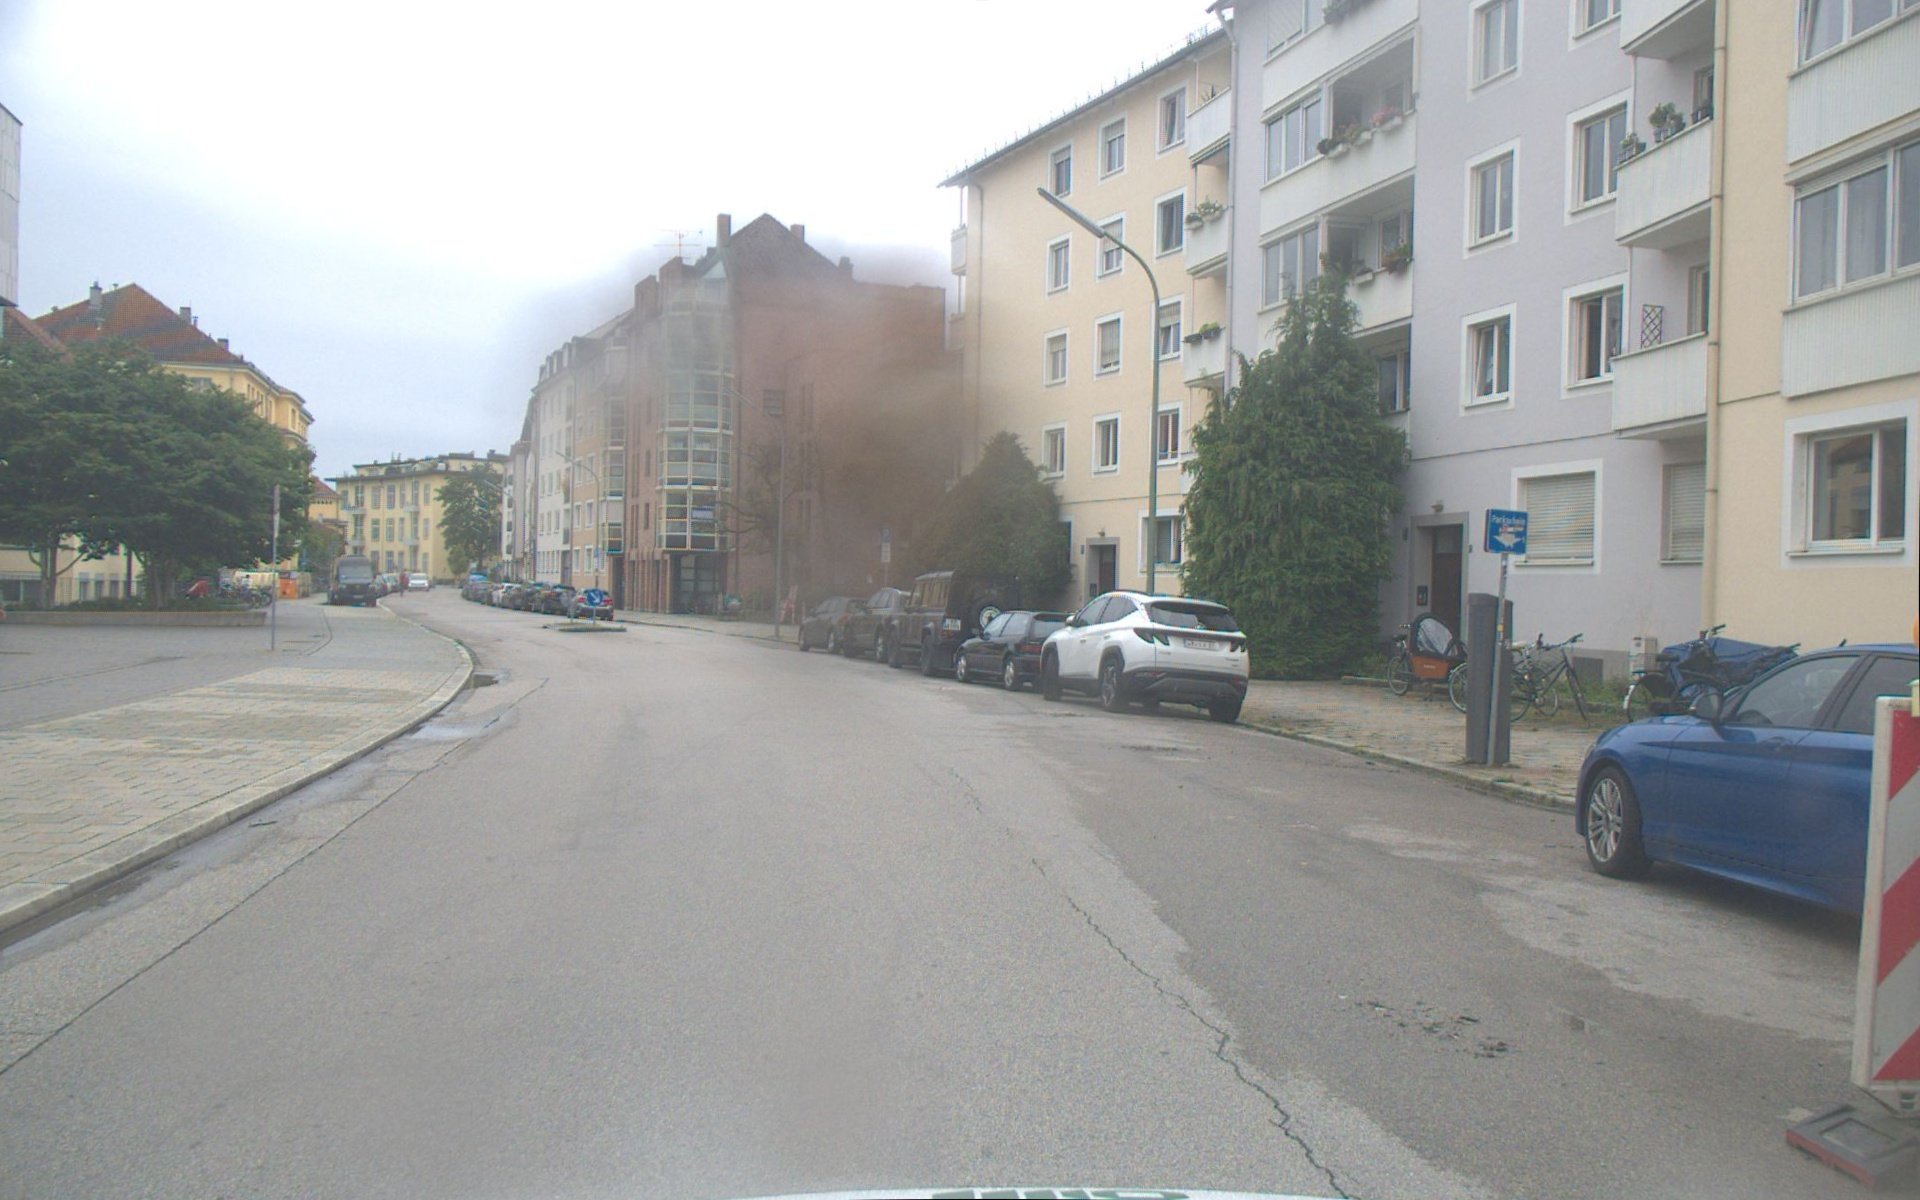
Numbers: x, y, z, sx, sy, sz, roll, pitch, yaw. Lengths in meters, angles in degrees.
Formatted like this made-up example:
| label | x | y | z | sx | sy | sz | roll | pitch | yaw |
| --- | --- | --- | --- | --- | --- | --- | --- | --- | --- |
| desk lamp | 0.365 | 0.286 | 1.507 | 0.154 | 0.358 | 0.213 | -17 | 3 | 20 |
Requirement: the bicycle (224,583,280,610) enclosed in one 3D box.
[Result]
| label | x | y | z | sx | sy | sz | roll | pitch | yaw |
| --- | --- | --- | --- | --- | --- | --- | --- | --- | --- |
| bicycle | -33.252 | -0.168 | 77.699 | 2.270 | 1.154 | 0.580 | 3 | 0 | -13 |

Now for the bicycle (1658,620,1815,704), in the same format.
| label | x | y | z | sx | sy | sz | roll | pitch | yaw |
| --- | --- | --- | --- | --- | --- | --- | --- | --- | --- |
| bicycle | 9.049 | 0.718 | 19.287 | 1.667 | 0.959 | 0.432 | 0 | 1 | -6 |

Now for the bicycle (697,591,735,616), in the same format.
| label | x | y | z | sx | sy | sz | roll | pitch | yaw |
| --- | --- | --- | --- | --- | --- | --- | --- | --- | --- |
| bicycle | -12.417 | 0.167 | 84.227 | 1.819 | 1.167 | 0.486 | 3 | 0 | -17 |

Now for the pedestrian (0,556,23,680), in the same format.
| label | x | y | z | sx | sy | sz | roll | pitch | yaw |
| --- | --- | --- | --- | --- | --- | --- | --- | --- | --- |
| pedestrian | -14.186 | 0.243 | 23.912 | 0.779 | 1.770 | 0.820 | 3 | 0 | -6 |

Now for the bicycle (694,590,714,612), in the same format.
| label | x | y | z | sx | sy | sz | roll | pitch | yaw |
| --- | --- | --- | --- | --- | --- | --- | --- | --- | --- |
| bicycle | -13.280 | 0.027 | 85.772 | 0.480 | 1.078 | 1.980 | 3 | 0 | -24 |

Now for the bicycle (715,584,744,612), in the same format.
| label | x | y | z | sx | sy | sz | roll | pitch | yaw |
| --- | --- | --- | --- | --- | --- | --- | --- | --- | --- |
| bicycle | -10.866 | -0.090 | 77.959 | 0.528 | 1.270 | 2.391 | 3 | -1 | -28 |

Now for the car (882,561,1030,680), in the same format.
| label | x | y | z | sx | sy | sz | roll | pitch | yaw |
| --- | --- | --- | --- | --- | --- | --- | --- | --- | --- |
| car | -0.172 | 0.336 | 32.837 | 1.719 | 2.117 | 4.497 | 3 | 1 | -16 |

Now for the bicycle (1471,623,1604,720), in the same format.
| label | x | y | z | sx | sy | sz | roll | pitch | yaw |
| --- | --- | --- | --- | --- | --- | --- | --- | --- | --- |
| bicycle | 7.725 | 0.937 | 22.105 | 1.804 | 1.178 | 0.573 | -2 | 1 | -26 |

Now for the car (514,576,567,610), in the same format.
| label | x | y | z | sx | sy | sz | roll | pitch | yaw |
| --- | --- | --- | --- | --- | --- | --- | --- | --- | --- |
| car | -23.070 | -0.410 | 90.854 | 1.940 | 1.629 | 4.634 | 3 | 1 | -26 |

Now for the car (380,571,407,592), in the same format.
| label | x | y | z | sx | sy | sz | roll | pitch | yaw |
| --- | --- | --- | --- | --- | --- | --- | --- | --- | --- |
| car | -49.182 | -1.600 | 143.505 | 1.997 | 1.649 | 4.476 | -1 | 0 | -21 |

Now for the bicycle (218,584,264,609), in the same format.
| label | x | y | z | sx | sy | sz | roll | pitch | yaw |
| --- | --- | --- | --- | --- | --- | --- | --- | --- | --- |
| bicycle | -33.165 | -0.172 | 76.290 | 1.834 | 1.047 | 0.538 | 3 | 0 | -13 |

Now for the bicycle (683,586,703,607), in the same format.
| label | x | y | z | sx | sy | sz | roll | pitch | yaw |
| --- | --- | --- | --- | --- | --- | --- | --- | --- | --- |
| bicycle | -13.791 | -0.172 | 85.539 | 0.480 | 1.078 | 1.980 | 3 | -1 | -24 |

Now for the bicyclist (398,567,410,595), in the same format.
| label | x | y | z | sx | sy | sz | roll | pitch | yaw |
| --- | --- | --- | --- | --- | --- | --- | --- | --- | --- |
| bicyclist | -42.018 | -1.443 | 124.962 | 0.754 | 2.048 | 0.764 | -2 | 2 | -17 |

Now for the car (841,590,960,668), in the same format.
| label | x | y | z | sx | sy | sz | roll | pitch | yaw |
| --- | --- | --- | --- | --- | --- | --- | --- | --- | --- |
| car | -1.410 | 0.605 | 37.534 | 1.631 | 1.593 | 4.495 | 3 | 0 | -16 |

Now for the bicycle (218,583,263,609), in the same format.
| label | x | y | z | sx | sy | sz | roll | pitch | yaw |
| --- | --- | --- | --- | --- | --- | --- | --- | --- | --- |
| bicycle | -32.719 | -0.187 | 75.225 | 1.759 | 1.051 | 0.506 | 3 | 0 | -13 |

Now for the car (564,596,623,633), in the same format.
| label | x | y | z | sx | sy | sz | roll | pitch | yaw |
| --- | --- | --- | --- | --- | --- | --- | --- | --- | --- |
| car | -17.052 | 0.668 | 76.811 | 1.898 | 1.538 | 4.362 | 3 | 0 | -22 |

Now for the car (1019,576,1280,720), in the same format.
| label | x | y | z | sx | sy | sz | roll | pitch | yaw |
| --- | --- | --- | --- | --- | --- | --- | --- | --- | --- |
| car | 2.519 | 0.592 | 23.291 | 1.993 | 1.707 | 4.593 | 3 | 1 | -16 |

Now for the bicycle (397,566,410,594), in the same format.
| label | x | y | z | sx | sy | sz | roll | pitch | yaw |
| --- | --- | --- | --- | --- | --- | --- | --- | --- | --- |
| bicycle | -42.054 | -1.499 | 124.977 | 0.736 | 2.048 | 2.835 | -1 | 2 | -16 |

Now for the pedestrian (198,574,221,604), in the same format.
| label | x | y | z | sx | sy | sz | roll | pitch | yaw |
| --- | --- | --- | --- | --- | --- | --- | --- | --- | --- |
| pedestrian | -31.686 | -0.462 | 69.871 | 0.707 | 1.183 | 1.035 | 3 | 1 | -17 |

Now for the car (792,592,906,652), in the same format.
| label | x | y | z | sx | sy | sz | roll | pitch | yaw |
| --- | --- | --- | --- | --- | --- | --- | --- | --- | --- |
| car | -2.918 | 0.545 | 42.563 | 1.730 | 1.421 | 4.018 | 3 | -1 | -22 |

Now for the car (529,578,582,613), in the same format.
| label | x | y | z | sx | sy | sz | roll | pitch | yaw |
| --- | --- | --- | --- | --- | --- | --- | --- | --- | --- |
| car | -21.130 | -0.262 | 86.312 | 1.807 | 1.629 | 4.232 | 3 | 1 | -26 |

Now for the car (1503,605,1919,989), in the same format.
| label | x | y | z | sx | sy | sz | roll | pitch | yaw |
| --- | --- | --- | --- | --- | --- | --- | --- | --- | --- |
| car | 4.635 | 0.857 | 8.310 | 1.796 | 1.467 | 4.622 | 3 | 1 | -7 |

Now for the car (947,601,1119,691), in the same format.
| label | x | y | z | sx | sy | sz | roll | pitch | yaw |
| --- | --- | --- | --- | --- | --- | --- | --- | --- | --- |
| car | 1.172 | 0.748 | 28.255 | 1.633 | 1.372 | 3.783 | 3 | -1 | -19 |

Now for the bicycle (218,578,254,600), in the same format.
| label | x | y | z | sx | sy | sz | roll | pitch | yaw |
| --- | --- | --- | --- | --- | --- | --- | --- | --- | --- |
| bicycle | -30.838 | -0.468 | 70.457 | 1.349 | 0.877 | 0.437 | 3 | 0 | -16 |

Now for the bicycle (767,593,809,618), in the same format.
| label | x | y | z | sx | sy | sz | roll | pitch | yaw |
| --- | --- | --- | --- | --- | --- | --- | --- | --- | --- |
| bicycle | -7.395 | 0.254 | 71.236 | 1.677 | 0.982 | 0.542 | 3 | 0 | -22 |

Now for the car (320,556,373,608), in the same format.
| label | x | y | z | sx | sy | sz | roll | pitch | yaw |
| --- | --- | --- | --- | --- | --- | --- | --- | --- | --- |
| car | -33.823 | -0.967 | 91.077 | 2.390 | 2.762 | 5.909 | 0 | 0 | -24 |

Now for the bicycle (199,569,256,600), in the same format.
| label | x | y | z | sx | sy | sz | roll | pitch | yaw |
| --- | --- | --- | --- | --- | --- | --- | --- | --- | --- |
| bicycle | -31.817 | -0.675 | 71.868 | 2.068 | 1.249 | 0.784 | 3 | 0 | -13 |

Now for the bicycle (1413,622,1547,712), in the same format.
| label | x | y | z | sx | sy | sz | roll | pitch | yaw |
| --- | --- | --- | --- | --- | --- | --- | --- | --- | --- |
| bicycle | 7.324 | 0.920 | 23.357 | 0.572 | 1.178 | 1.808 | -2 | 1 | -37 |

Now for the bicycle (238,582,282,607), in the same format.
| label | x | y | z | sx | sy | sz | roll | pitch | yaw |
| --- | --- | --- | --- | --- | --- | --- | --- | --- | --- |
| bicycle | -34.609 | -0.284 | 81.810 | 1.871 | 1.111 | 0.675 | 3 | 0 | -13 |

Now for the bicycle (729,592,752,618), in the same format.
| label | x | y | z | sx | sy | sz | roll | pitch | yaw |
| --- | --- | --- | --- | --- | --- | --- | --- | --- | --- |
| bicycle | -10.235 | 0.224 | 77.195 | 0.411 | 1.193 | 1.361 | 3 | 1 | 22 |

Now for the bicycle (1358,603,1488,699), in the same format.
| label | x | y | z | sx | sy | sz | roll | pitch | yaw |
| --- | --- | --- | --- | --- | --- | --- | --- | --- | --- |
| bicycle | 7.348 | 0.777 | 26.380 | 0.731 | 1.391 | 2.458 | -2 | 1 | -18 |

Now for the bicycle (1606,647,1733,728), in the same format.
| label | x | y | z | sx | sy | sz | roll | pitch | yaw |
| --- | --- | --- | --- | --- | --- | --- | --- | --- | --- |
| bicycle | 8.529 | 1.039 | 19.884 | 1.445 | 0.872 | 0.442 | -2 | 1 | -17 |
